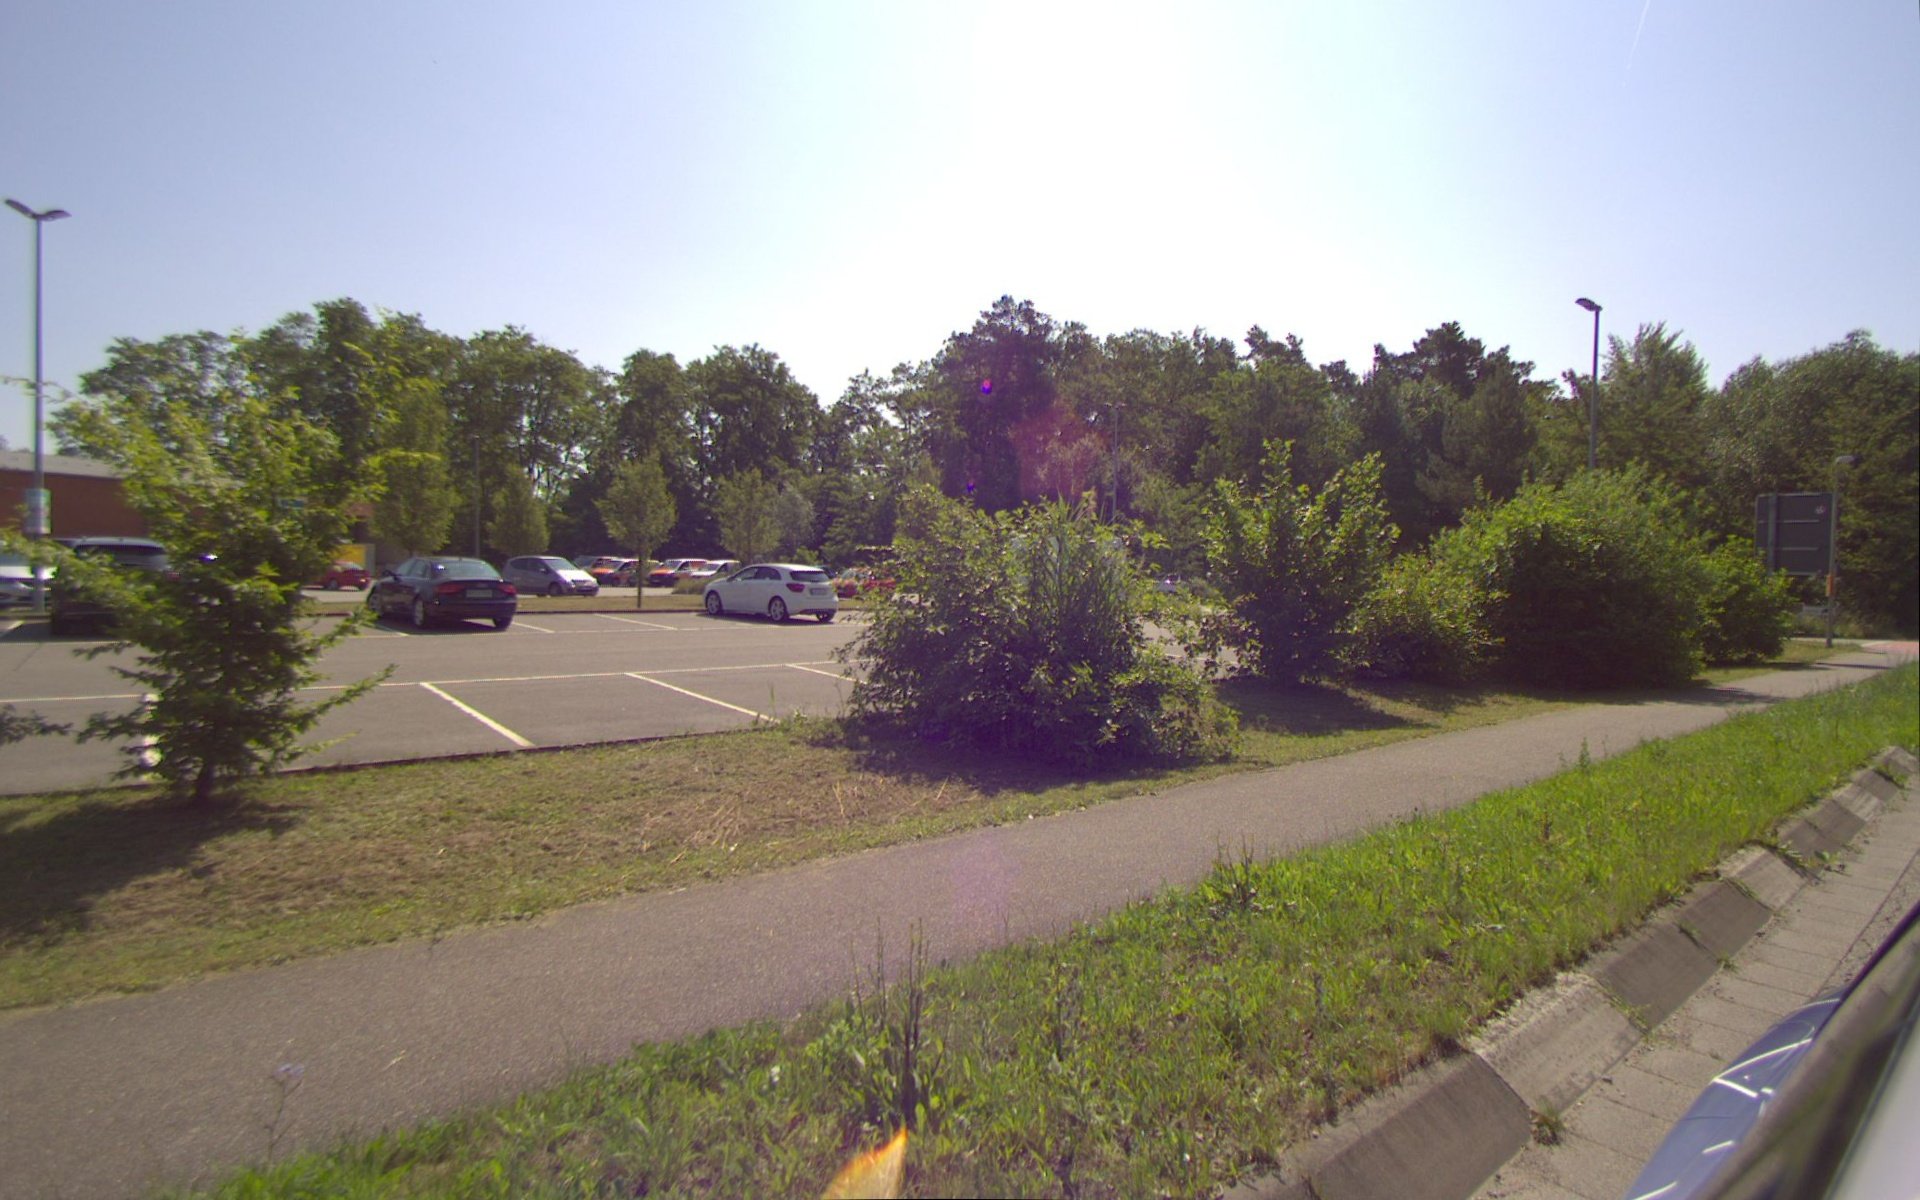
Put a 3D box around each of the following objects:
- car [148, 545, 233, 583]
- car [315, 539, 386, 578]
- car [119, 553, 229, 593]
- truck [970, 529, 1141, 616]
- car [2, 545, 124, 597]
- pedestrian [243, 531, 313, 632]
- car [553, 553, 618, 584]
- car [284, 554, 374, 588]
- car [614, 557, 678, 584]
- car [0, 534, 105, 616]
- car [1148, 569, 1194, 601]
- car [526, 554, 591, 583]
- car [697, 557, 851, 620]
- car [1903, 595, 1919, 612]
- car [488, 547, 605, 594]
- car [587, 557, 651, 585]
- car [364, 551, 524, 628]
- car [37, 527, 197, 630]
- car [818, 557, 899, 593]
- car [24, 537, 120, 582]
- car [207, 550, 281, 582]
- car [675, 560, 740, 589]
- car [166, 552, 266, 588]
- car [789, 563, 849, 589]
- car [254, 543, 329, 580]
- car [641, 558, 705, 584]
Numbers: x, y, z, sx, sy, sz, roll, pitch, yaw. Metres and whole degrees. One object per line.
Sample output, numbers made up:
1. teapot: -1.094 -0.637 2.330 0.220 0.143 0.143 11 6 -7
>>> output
1. car: -40.699 -1.922 53.543 3.958 1.905 1.984 2 2 25
2. car: -37.816 -2.567 62.793 3.984 2.275 1.982 2 1 27
3. car: -30.078 -1.044 38.723 3.963 1.415 1.873 2 1 28
4. truck: 3.026 -0.960 33.363 2.165 2.637 5.610 0 2 -41
5. car: -31.191 -1.007 35.180 3.965 1.682 1.980 2 1 29
6. pedestrian: -12.065 -0.330 17.909 0.748 1.726 0.708 2 1 18
7. car: -25.443 -2.165 68.842 1.922 1.998 3.969 2 2 23
8. car: -31.268 -1.453 50.145 3.953 1.537 1.788 3 2 22
9. car: -20.637 -1.938 66.709 1.922 1.732 3.969 2 2 23
10. car: -21.790 -0.535 22.874 4.509 1.723 1.985 0 1 23
11. car: 11.071 -0.797 52.963 1.739 1.549 3.638 2 2 22
12. car: -27.675 -2.182 69.883 1.922 1.888 3.969 2 2 23
13. car: -4.917 -0.335 26.525 3.957 1.471 1.877 3 2 40
14. car: 103.054 0.391 108.468 1.811 1.660 3.803 2 2 26
15. car: -15.338 -1.093 37.558 3.963 1.604 1.952 2 2 28
16. car: -22.741 -1.932 67.599 1.922 1.732 3.969 2 2 23
17. car: -10.816 -0.266 21.096 3.987 1.445 1.722 3 2 43
18. car: -14.979 -0.391 17.901 1.966 1.593 4.158 0 1 -43
19. car: -4.501 -1.134 45.565 1.975 1.483 4.467 2 2 19
20. car: -42.231 -1.925 48.139 3.957 2.038 1.984 2 2 24
21. car: -39.917 -1.880 56.411 3.734 1.660 1.767 3 2 25
22. car: -16.055 -1.649 64.510 2.049 1.732 3.969 2 2 23
23. car: -32.711 -1.304 44.503 3.959 1.460 1.896 2 2 25
24. car: -8.581 -1.460 61.892 1.644 1.504 4.339 2 2 23
25. car: -38.941 -2.254 58.948 3.961 2.039 1.982 2 1 27
26. car: -18.454 -1.842 65.343 1.775 1.615 4.230 2 2 22
